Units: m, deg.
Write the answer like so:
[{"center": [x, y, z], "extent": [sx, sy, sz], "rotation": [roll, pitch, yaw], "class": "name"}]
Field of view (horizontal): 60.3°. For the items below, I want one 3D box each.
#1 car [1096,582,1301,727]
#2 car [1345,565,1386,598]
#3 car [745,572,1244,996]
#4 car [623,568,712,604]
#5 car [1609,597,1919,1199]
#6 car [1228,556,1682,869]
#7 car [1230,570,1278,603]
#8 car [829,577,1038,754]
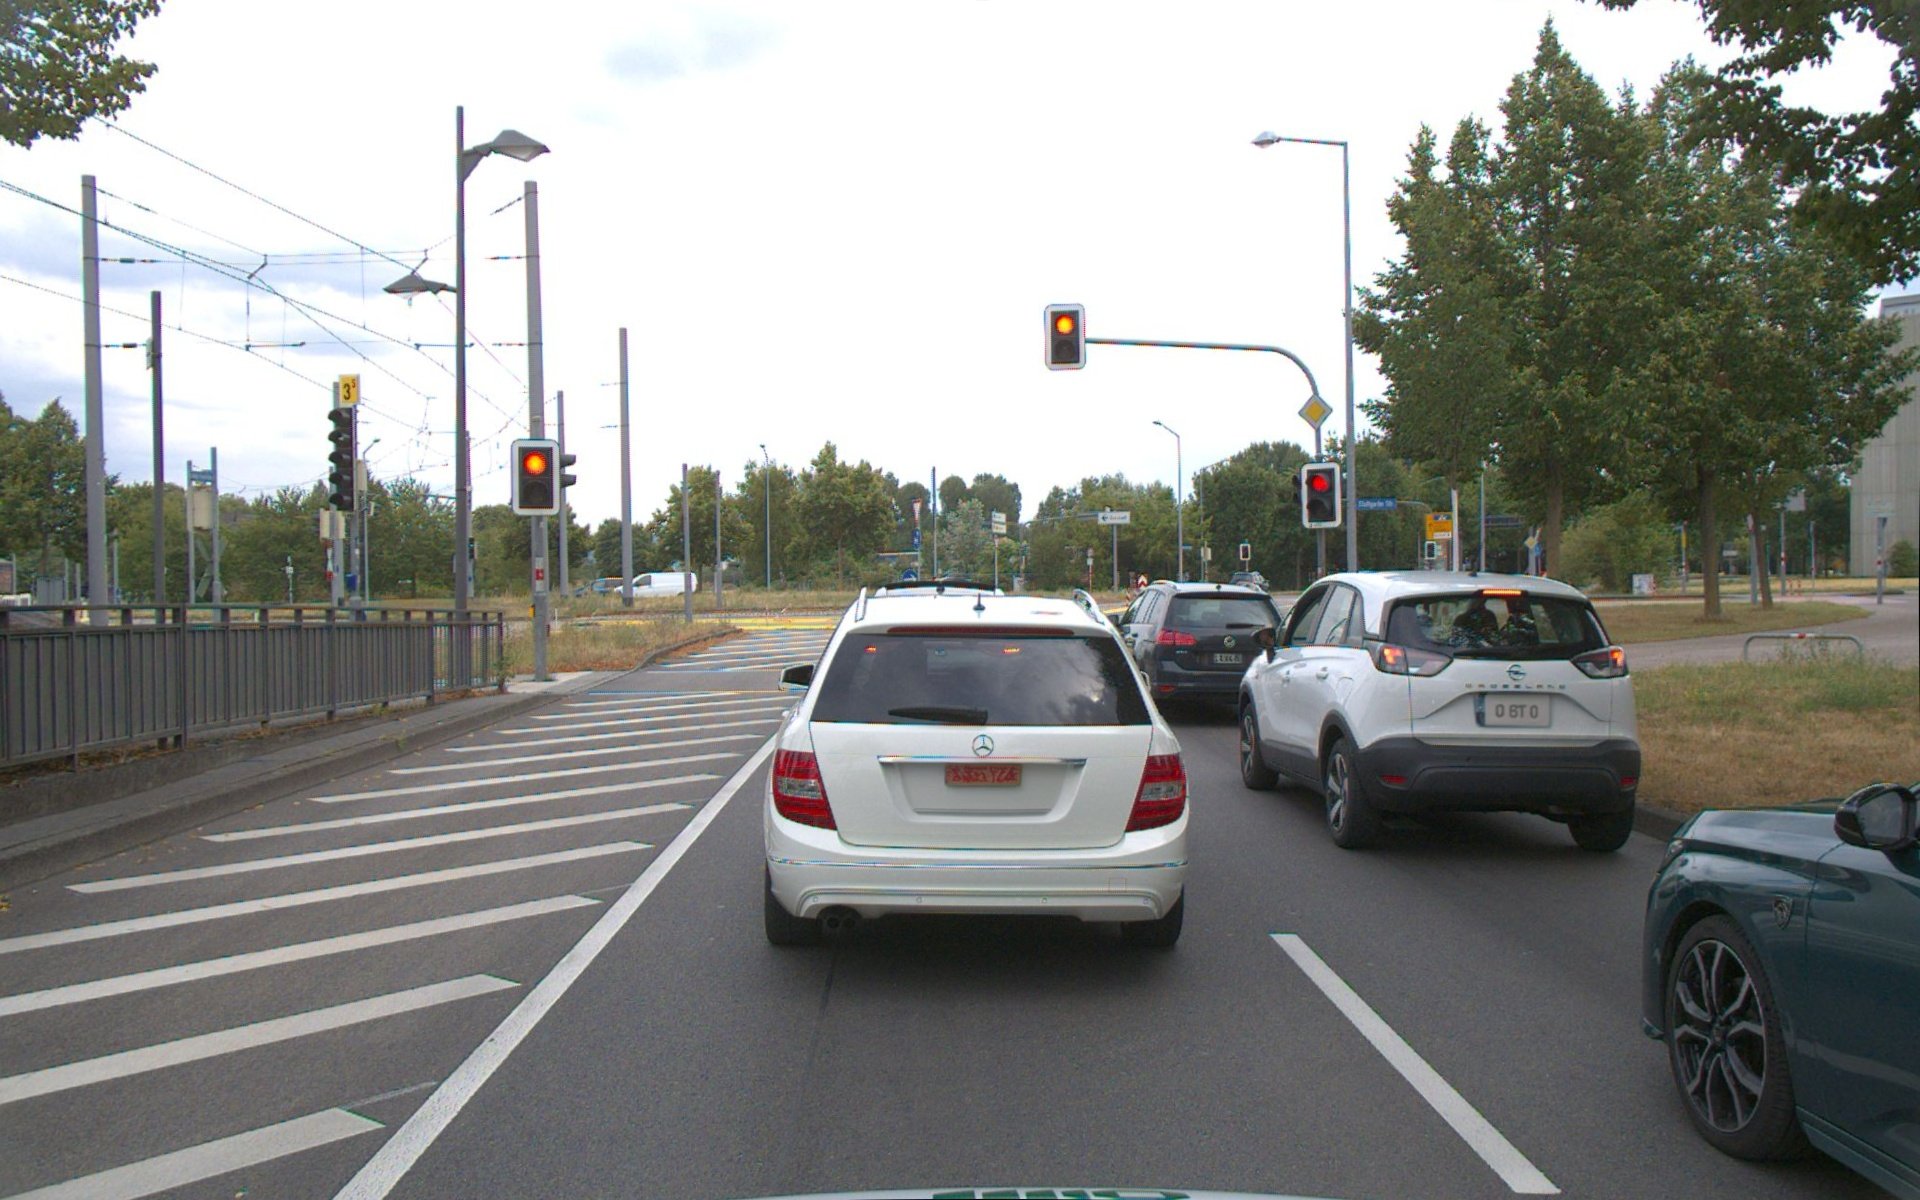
[{"center": [2.600, 0.538, 18.855], "extent": [1.592, 1.474, 3.908], "rotation": [1, 1, -3], "class": "car"}, {"center": [21.540, -1.002, 87.997], "extent": [1.745, 1.664, 4.406], "rotation": [0, 1, 9], "class": "car"}, {"center": [0.040, 0.626, 7.753], "extent": [1.738, 1.474, 3.908], "rotation": [1, 1, -3], "class": "car"}, {"center": [-17.129, -0.822, 96.936], "extent": [4.907, 2.049, 1.990], "rotation": [-1, 1, -19], "class": "car"}, {"center": [3.037, 0.758, 3.046], "extent": [1.752, 1.457, 4.307], "rotation": [0, 1, -4], "class": "car"}, {"center": [2.976, 0.579, 10.826], "extent": [1.751, 1.653, 3.910], "rotation": [-1, 1, -1], "class": "car"}, {"center": [17.275, -0.796, 97.042], "extent": [1.953, 1.822, 4.000], "rotation": [2, 0, 22], "class": "car"}, {"center": [-0.304, 0.527, 15.821], "extent": [1.738, 1.474, 3.908], "rotation": [1, 1, -3], "class": "car"}]
